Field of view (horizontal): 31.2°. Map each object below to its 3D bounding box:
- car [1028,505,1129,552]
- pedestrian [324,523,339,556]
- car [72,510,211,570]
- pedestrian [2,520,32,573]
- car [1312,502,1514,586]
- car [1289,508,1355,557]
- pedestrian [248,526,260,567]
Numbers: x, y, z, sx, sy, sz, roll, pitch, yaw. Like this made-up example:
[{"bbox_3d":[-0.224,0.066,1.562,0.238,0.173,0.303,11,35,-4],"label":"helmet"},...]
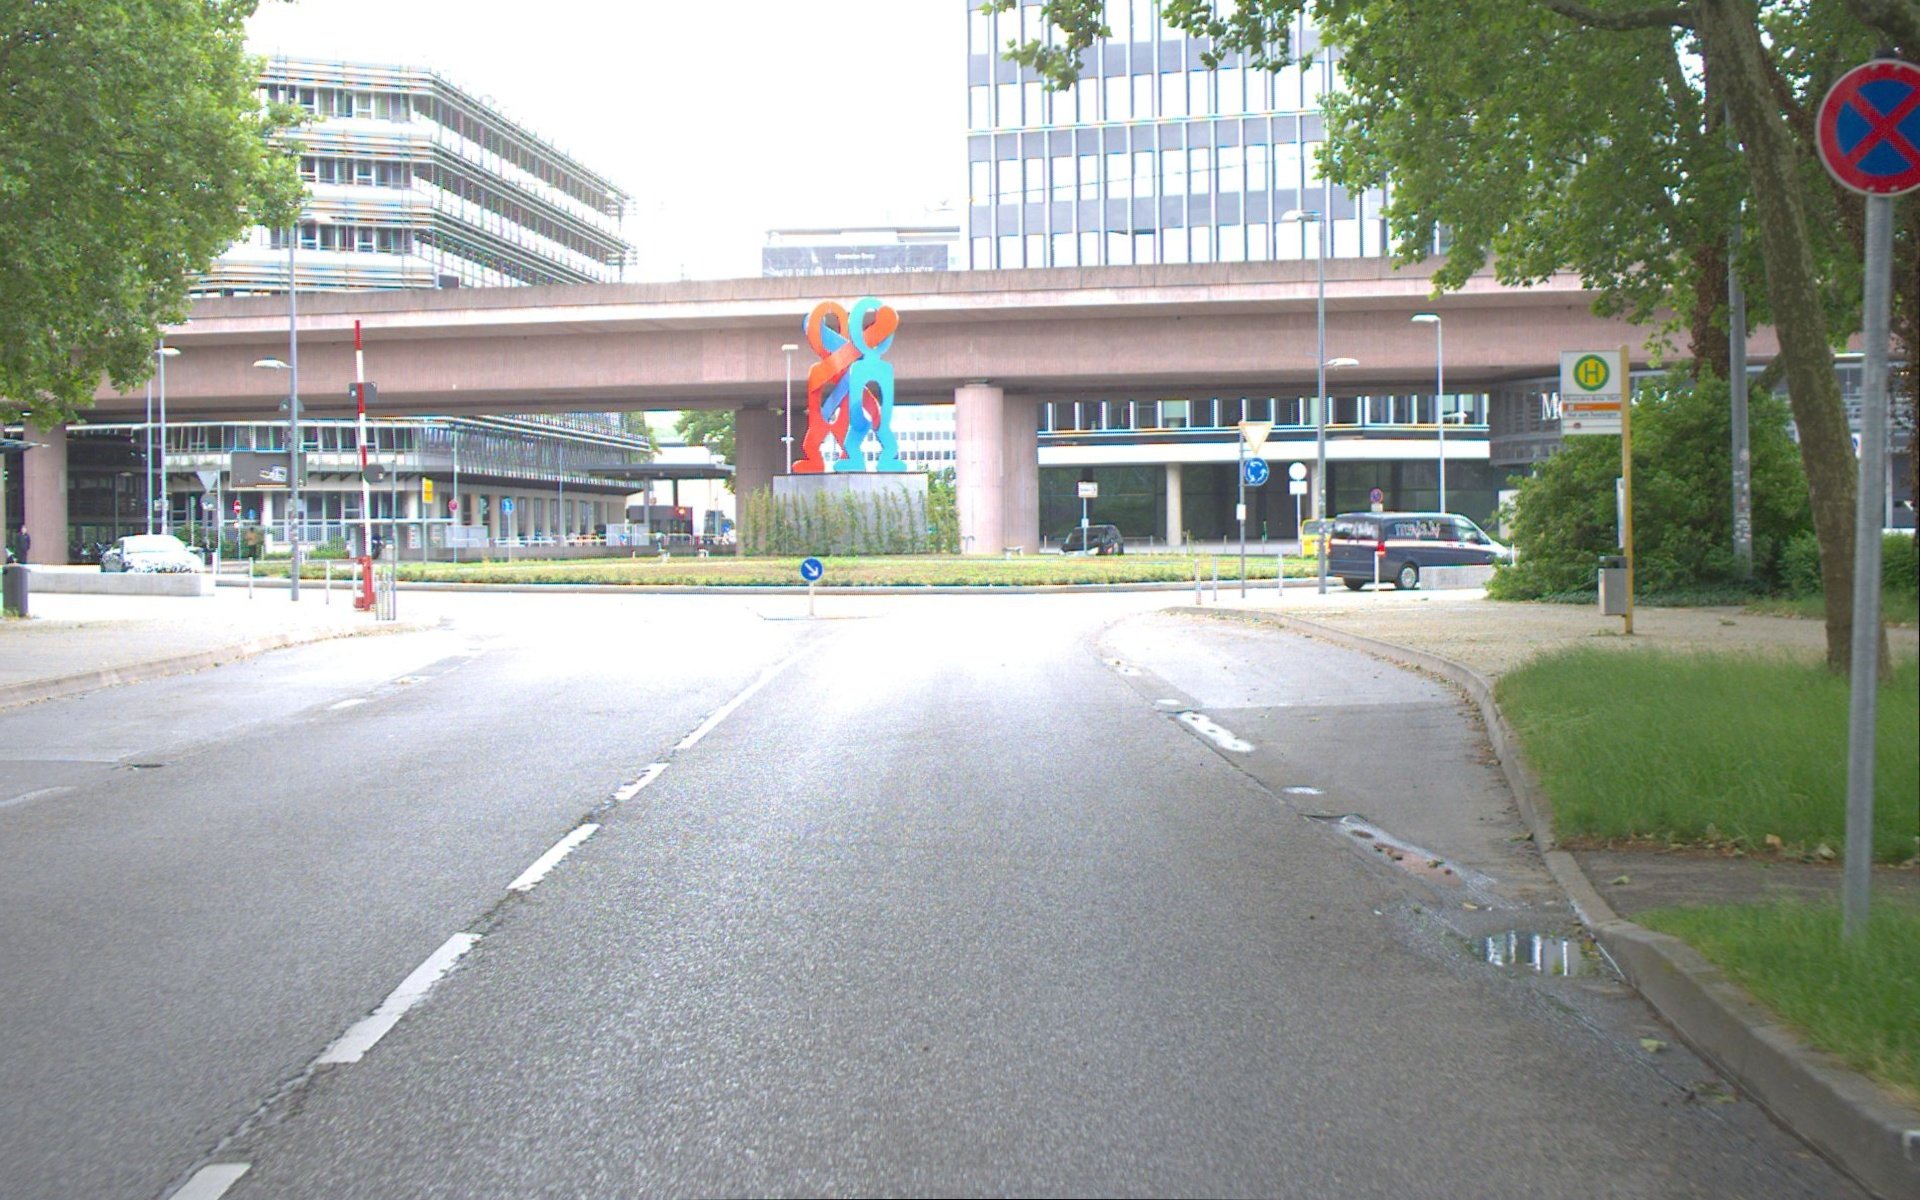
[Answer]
[{"bbox_3d":[4.566,-2.751,132.278,1.998,1.766,3.992,1,1,36],"label":"car"},{"bbox_3d":[-38.263,-3.679,209.302,0.776,2.007,0.671,0,1,0],"label":"pedestrian"},{"bbox_3d":[-21.264,-1.534,89.163,1.901,1.448,4.814,-3,2,-34],"label":"car"},{"bbox_3d":[-35.680,-2.017,130.084,1.042,2.007,0.599,0,1,-12],"label":"pedestrian"},{"bbox_3d":[11.082,-1.351,83.945,4.770,2.007,2.282,0,1,-41],"label":"car"},{"bbox_3d":[15.196,-2.827,144.109,1.995,2.007,3.997,0,1,17],"label":"car"},{"bbox_3d":[-34.370,-2.608,167.322,0.588,2.007,0.599,0,1,-12],"label":"pedestrian"}]
